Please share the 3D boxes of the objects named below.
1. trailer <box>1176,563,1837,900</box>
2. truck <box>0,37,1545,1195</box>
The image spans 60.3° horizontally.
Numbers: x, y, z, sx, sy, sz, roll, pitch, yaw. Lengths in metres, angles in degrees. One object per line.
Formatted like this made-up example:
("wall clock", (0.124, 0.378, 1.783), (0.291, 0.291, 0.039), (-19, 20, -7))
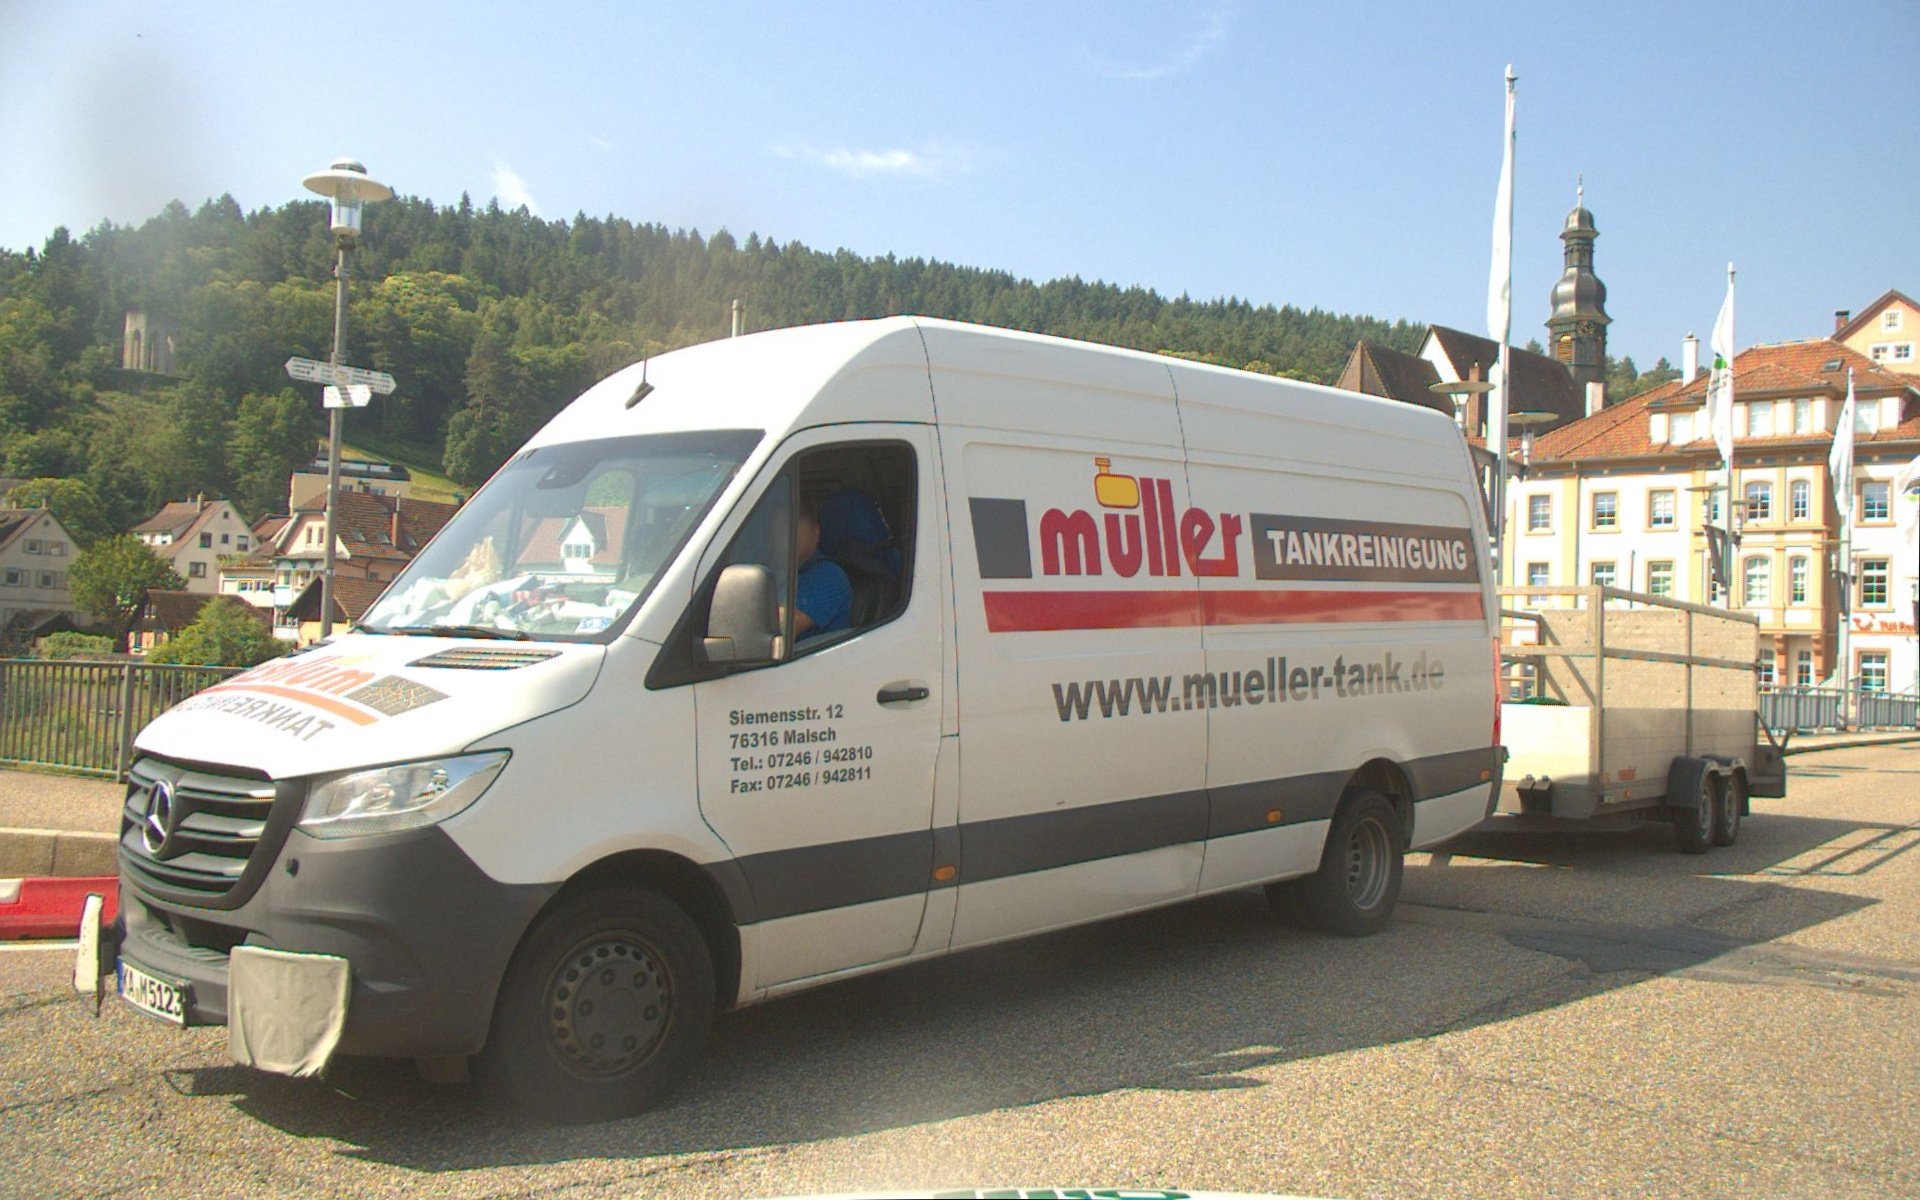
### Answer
("trailer", (4.239, 0.802, 12.093), (2.573, 1.860, 5.602), (-1, -2, 42))
("truck", (0.074, 0.136, 7.246), (2.075, 2.746, 7.086), (-1, -2, 43))
